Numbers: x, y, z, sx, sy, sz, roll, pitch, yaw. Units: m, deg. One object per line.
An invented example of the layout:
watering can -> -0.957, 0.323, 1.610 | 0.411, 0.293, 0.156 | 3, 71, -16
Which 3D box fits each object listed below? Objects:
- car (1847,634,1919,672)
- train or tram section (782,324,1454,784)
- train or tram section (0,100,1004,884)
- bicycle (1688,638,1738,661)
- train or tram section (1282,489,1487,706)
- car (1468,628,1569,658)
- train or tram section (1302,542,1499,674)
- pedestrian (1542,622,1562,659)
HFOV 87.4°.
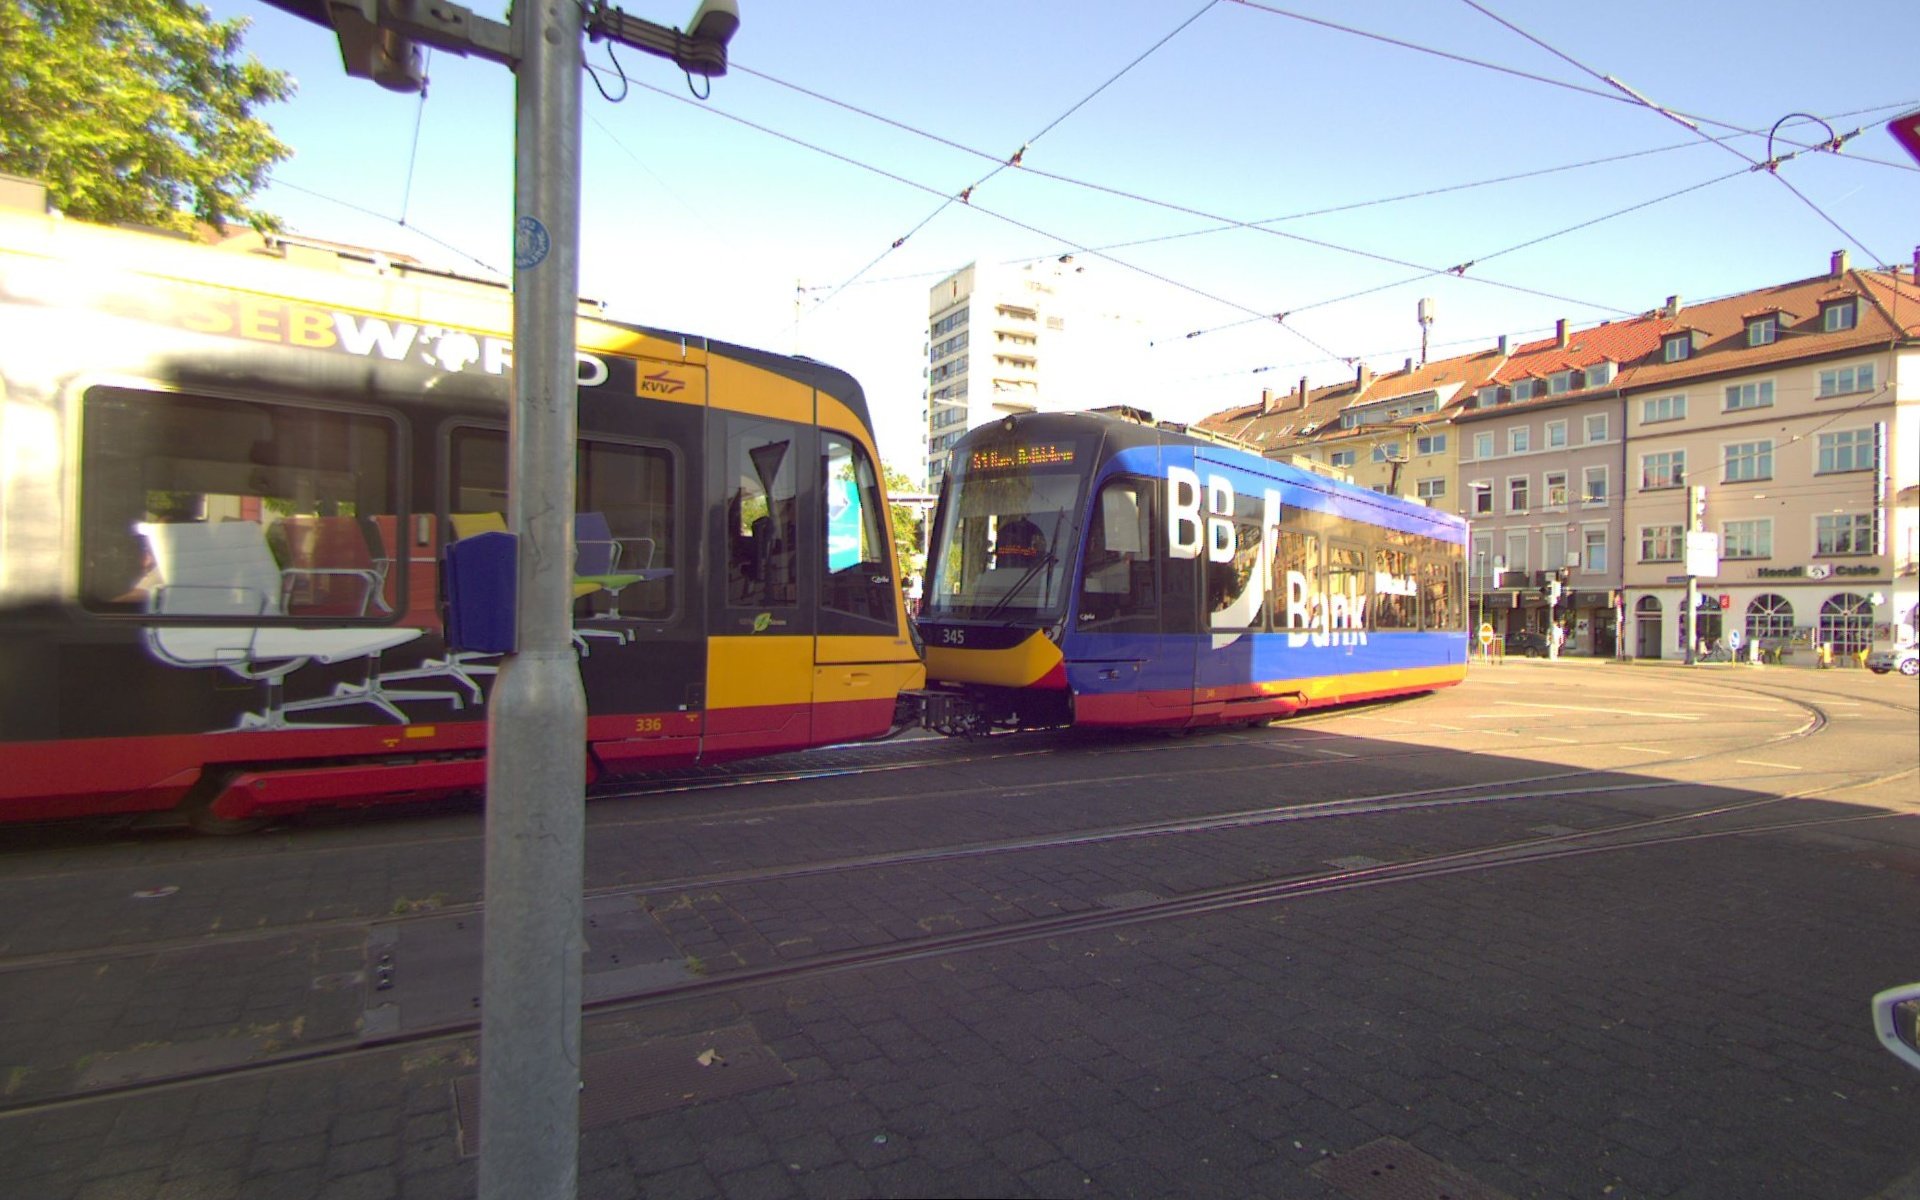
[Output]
car -> 37.015, 2.042, 38.477 | 4.136, 1.373, 2.001 | 1, -1, 8
train or tram section -> 3.324, -0.228, 13.551 | 3.020, 3.661, 12.053 | 0, -1, 41
train or tram section -> -5.455, -0.496, 5.862 | 11.989, 3.661, 3.036 | 2, -1, -34
bicycle -> 37.644, 2.487, 50.261 | 0.578, 1.081, 1.929 | 1, -1, -36
train or tram section -> 10.277, 0.091, 23.153 | 3.010, 3.661, 12.481 | 0, -1, 29
car -> 30.571, 2.326, 55.090 | 1.725, 1.459, 4.614 | 2, -1, -32
train or tram section -> 14.308, 0.329, 33.994 | 3.003, 3.661, 12.123 | 1, -1, 8
pedestrian -> 26.626, 1.823, 45.184 | 0.714, 1.648, 0.671 | 0, -1, 27
